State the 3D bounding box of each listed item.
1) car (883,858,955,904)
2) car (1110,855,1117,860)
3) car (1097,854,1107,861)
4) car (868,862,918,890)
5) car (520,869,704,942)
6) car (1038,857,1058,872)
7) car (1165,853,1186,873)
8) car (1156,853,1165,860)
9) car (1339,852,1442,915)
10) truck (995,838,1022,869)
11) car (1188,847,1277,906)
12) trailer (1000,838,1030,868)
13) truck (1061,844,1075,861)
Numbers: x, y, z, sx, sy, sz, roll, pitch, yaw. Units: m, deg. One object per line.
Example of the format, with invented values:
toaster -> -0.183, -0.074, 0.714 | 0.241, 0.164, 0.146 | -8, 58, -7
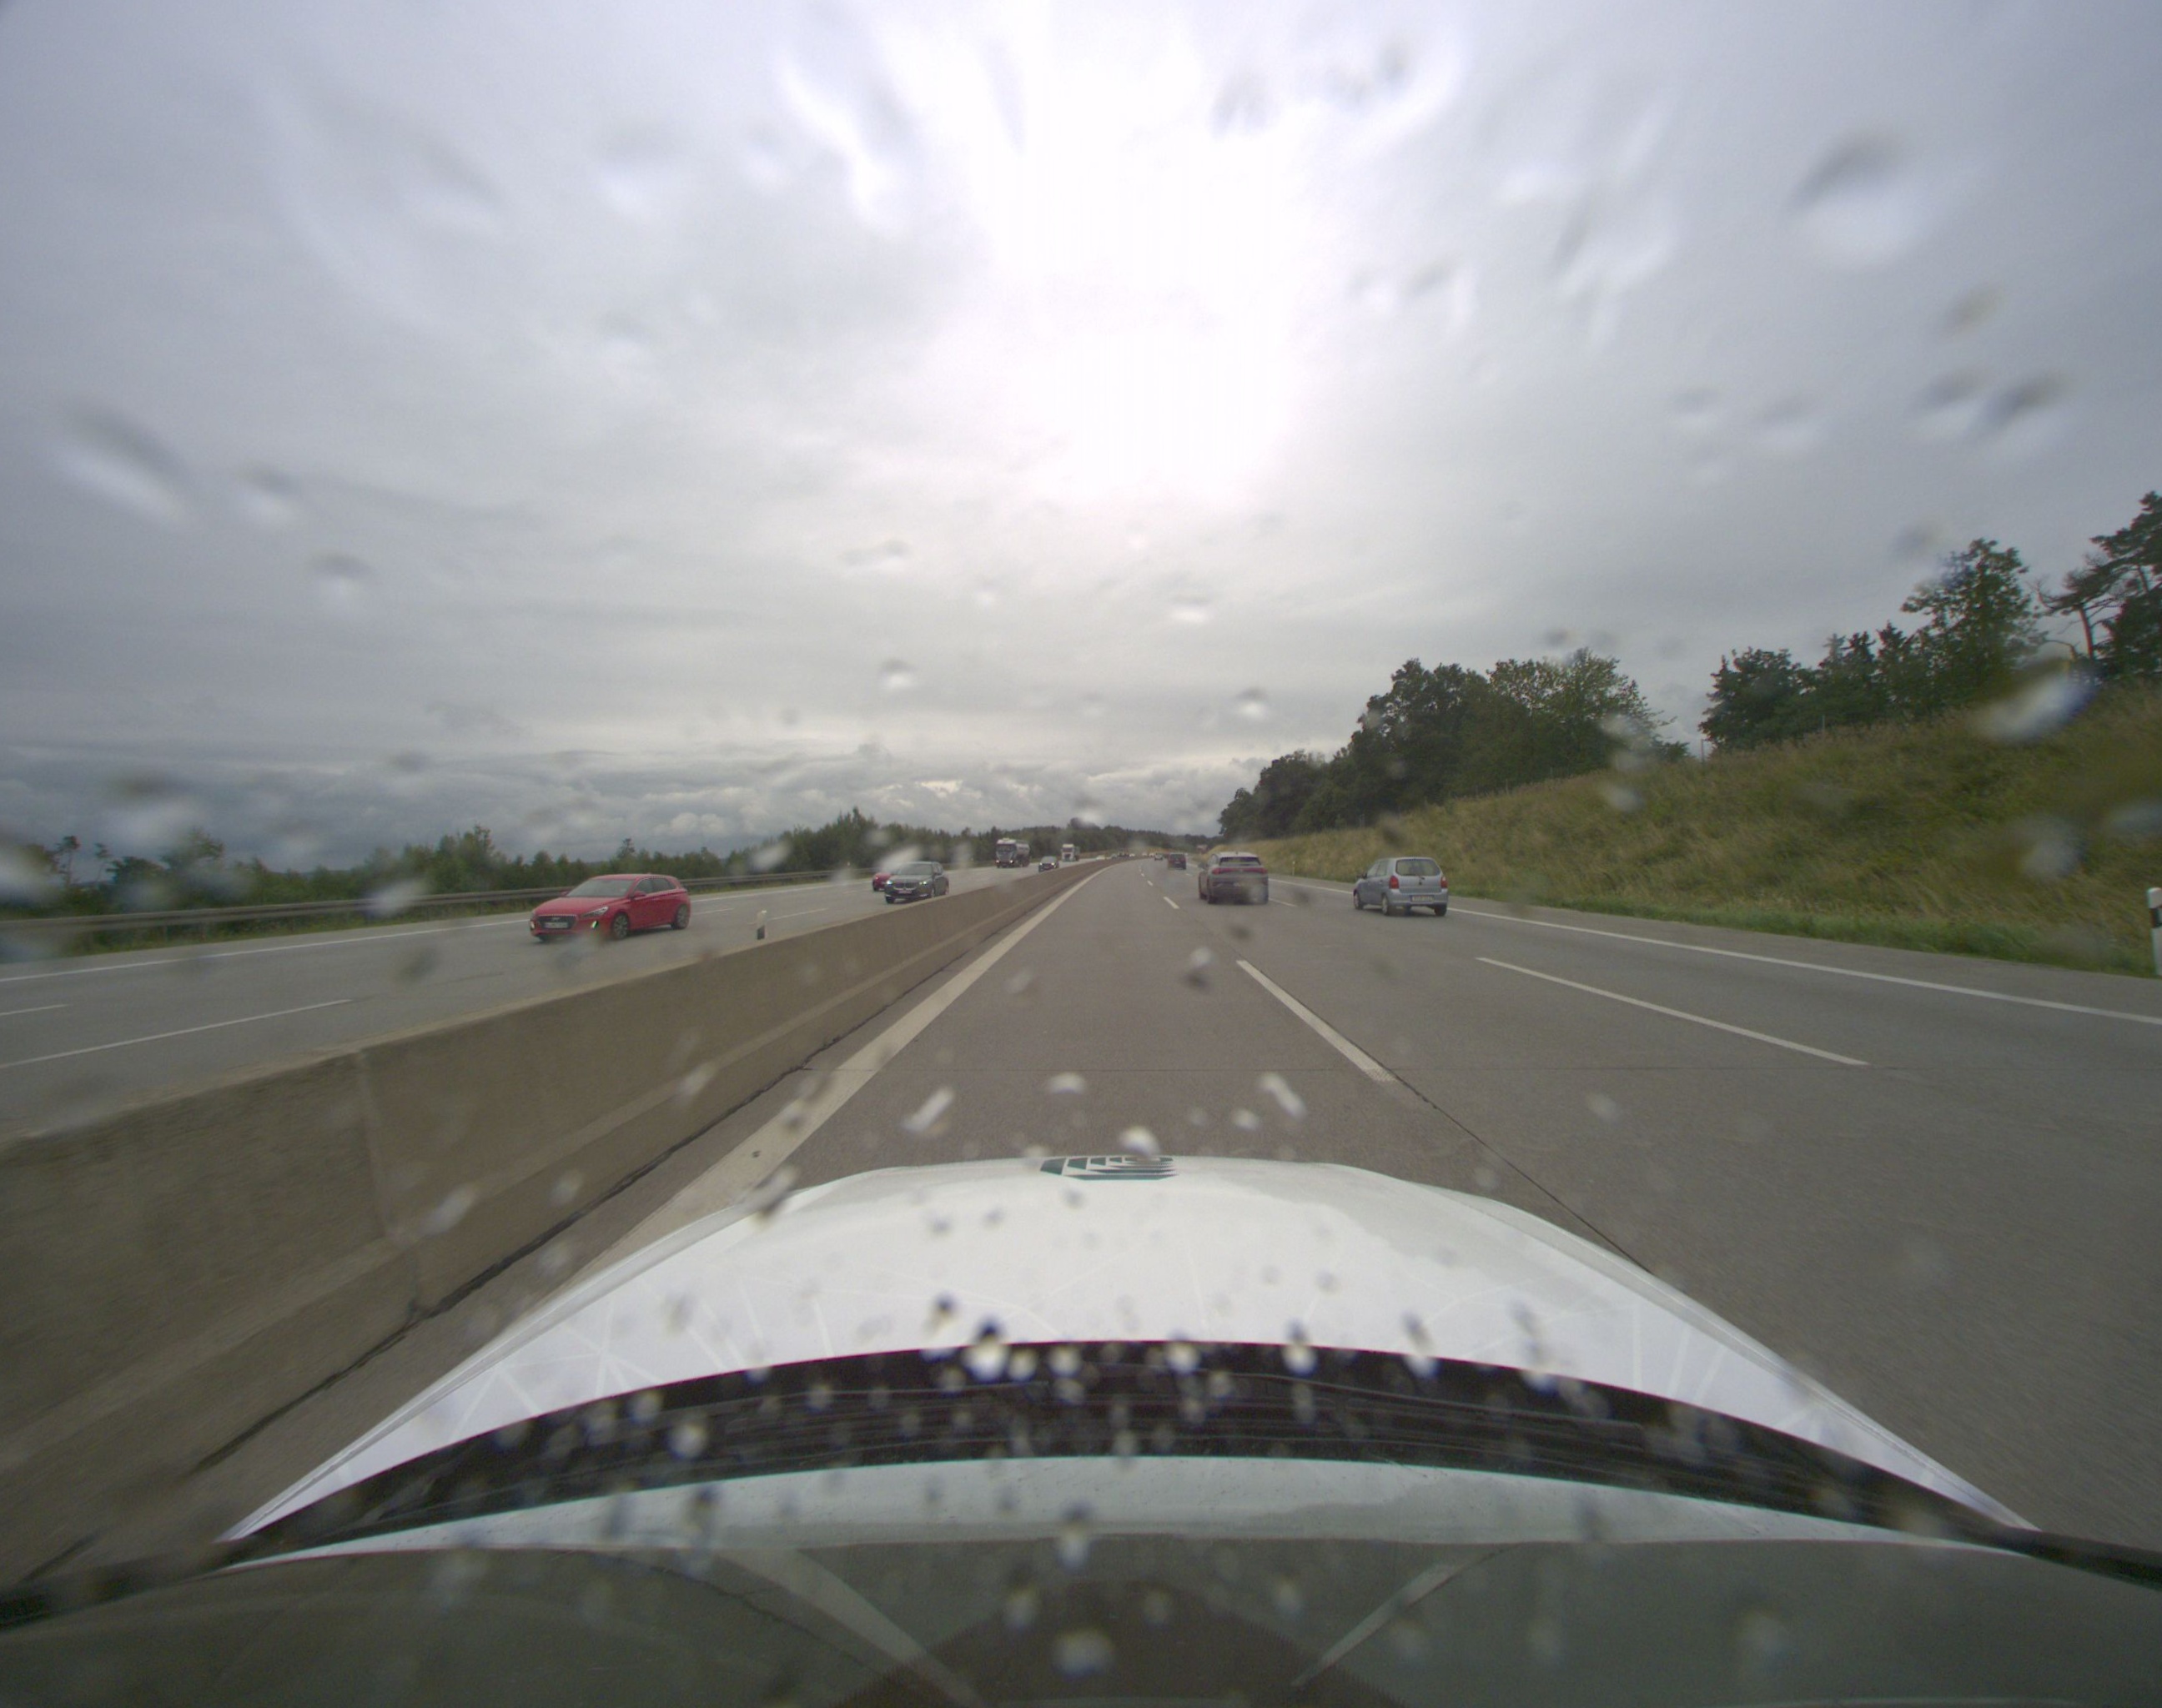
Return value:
car -> -6.550, 1.036, 33.469 | 1.715, 1.587, 4.974 | -2, 1, 2
car -> 10.152, 1.117, 253.312 | 1.984, 1.589, 4.777 | 0, 0, 5
car -> 4.651, 0.698, 178.851 | 1.985, 1.441, 4.772 | 1, 1, 3
car -> -10.081, 1.166, 43.992 | 1.512, 1.393, 4.489 | 0, 0, 2
car -> -11.101, 1.158, 19.720 | 1.711, 1.508, 4.488 | -2, -1, 2
car -> -3.435, 1.064, 85.502 | 1.785, 1.417, 4.346 | -1, 1, 2
car -> 9.681, 0.895, 83.581 | 1.778, 1.746, 3.918 | -3, 1, 3
car -> 18.235, 0.593, 186.603 | 1.830, 1.500, 4.010 | -3, 1, 8
car -> 8.219, 0.736, 21.932 | 1.480, 1.470, 3.505 | -1, 1, 1
truck -> -9.799, -0.106, 110.959 | 2.736, 3.998, 6.934 | 0, 1, 2
car -> 4.797, 0.641, 26.608 | 1.892, 1.689, 5.265 | 0, 1, -1
trailer -> -9.444, -0.240, 117.499 | 2.747, 3.998, 12.300 | 0, 1, 3
truck -> -2.941, -0.214, 185.528 | 2.737, 3.802, 5.538 | 0, -1, 5
